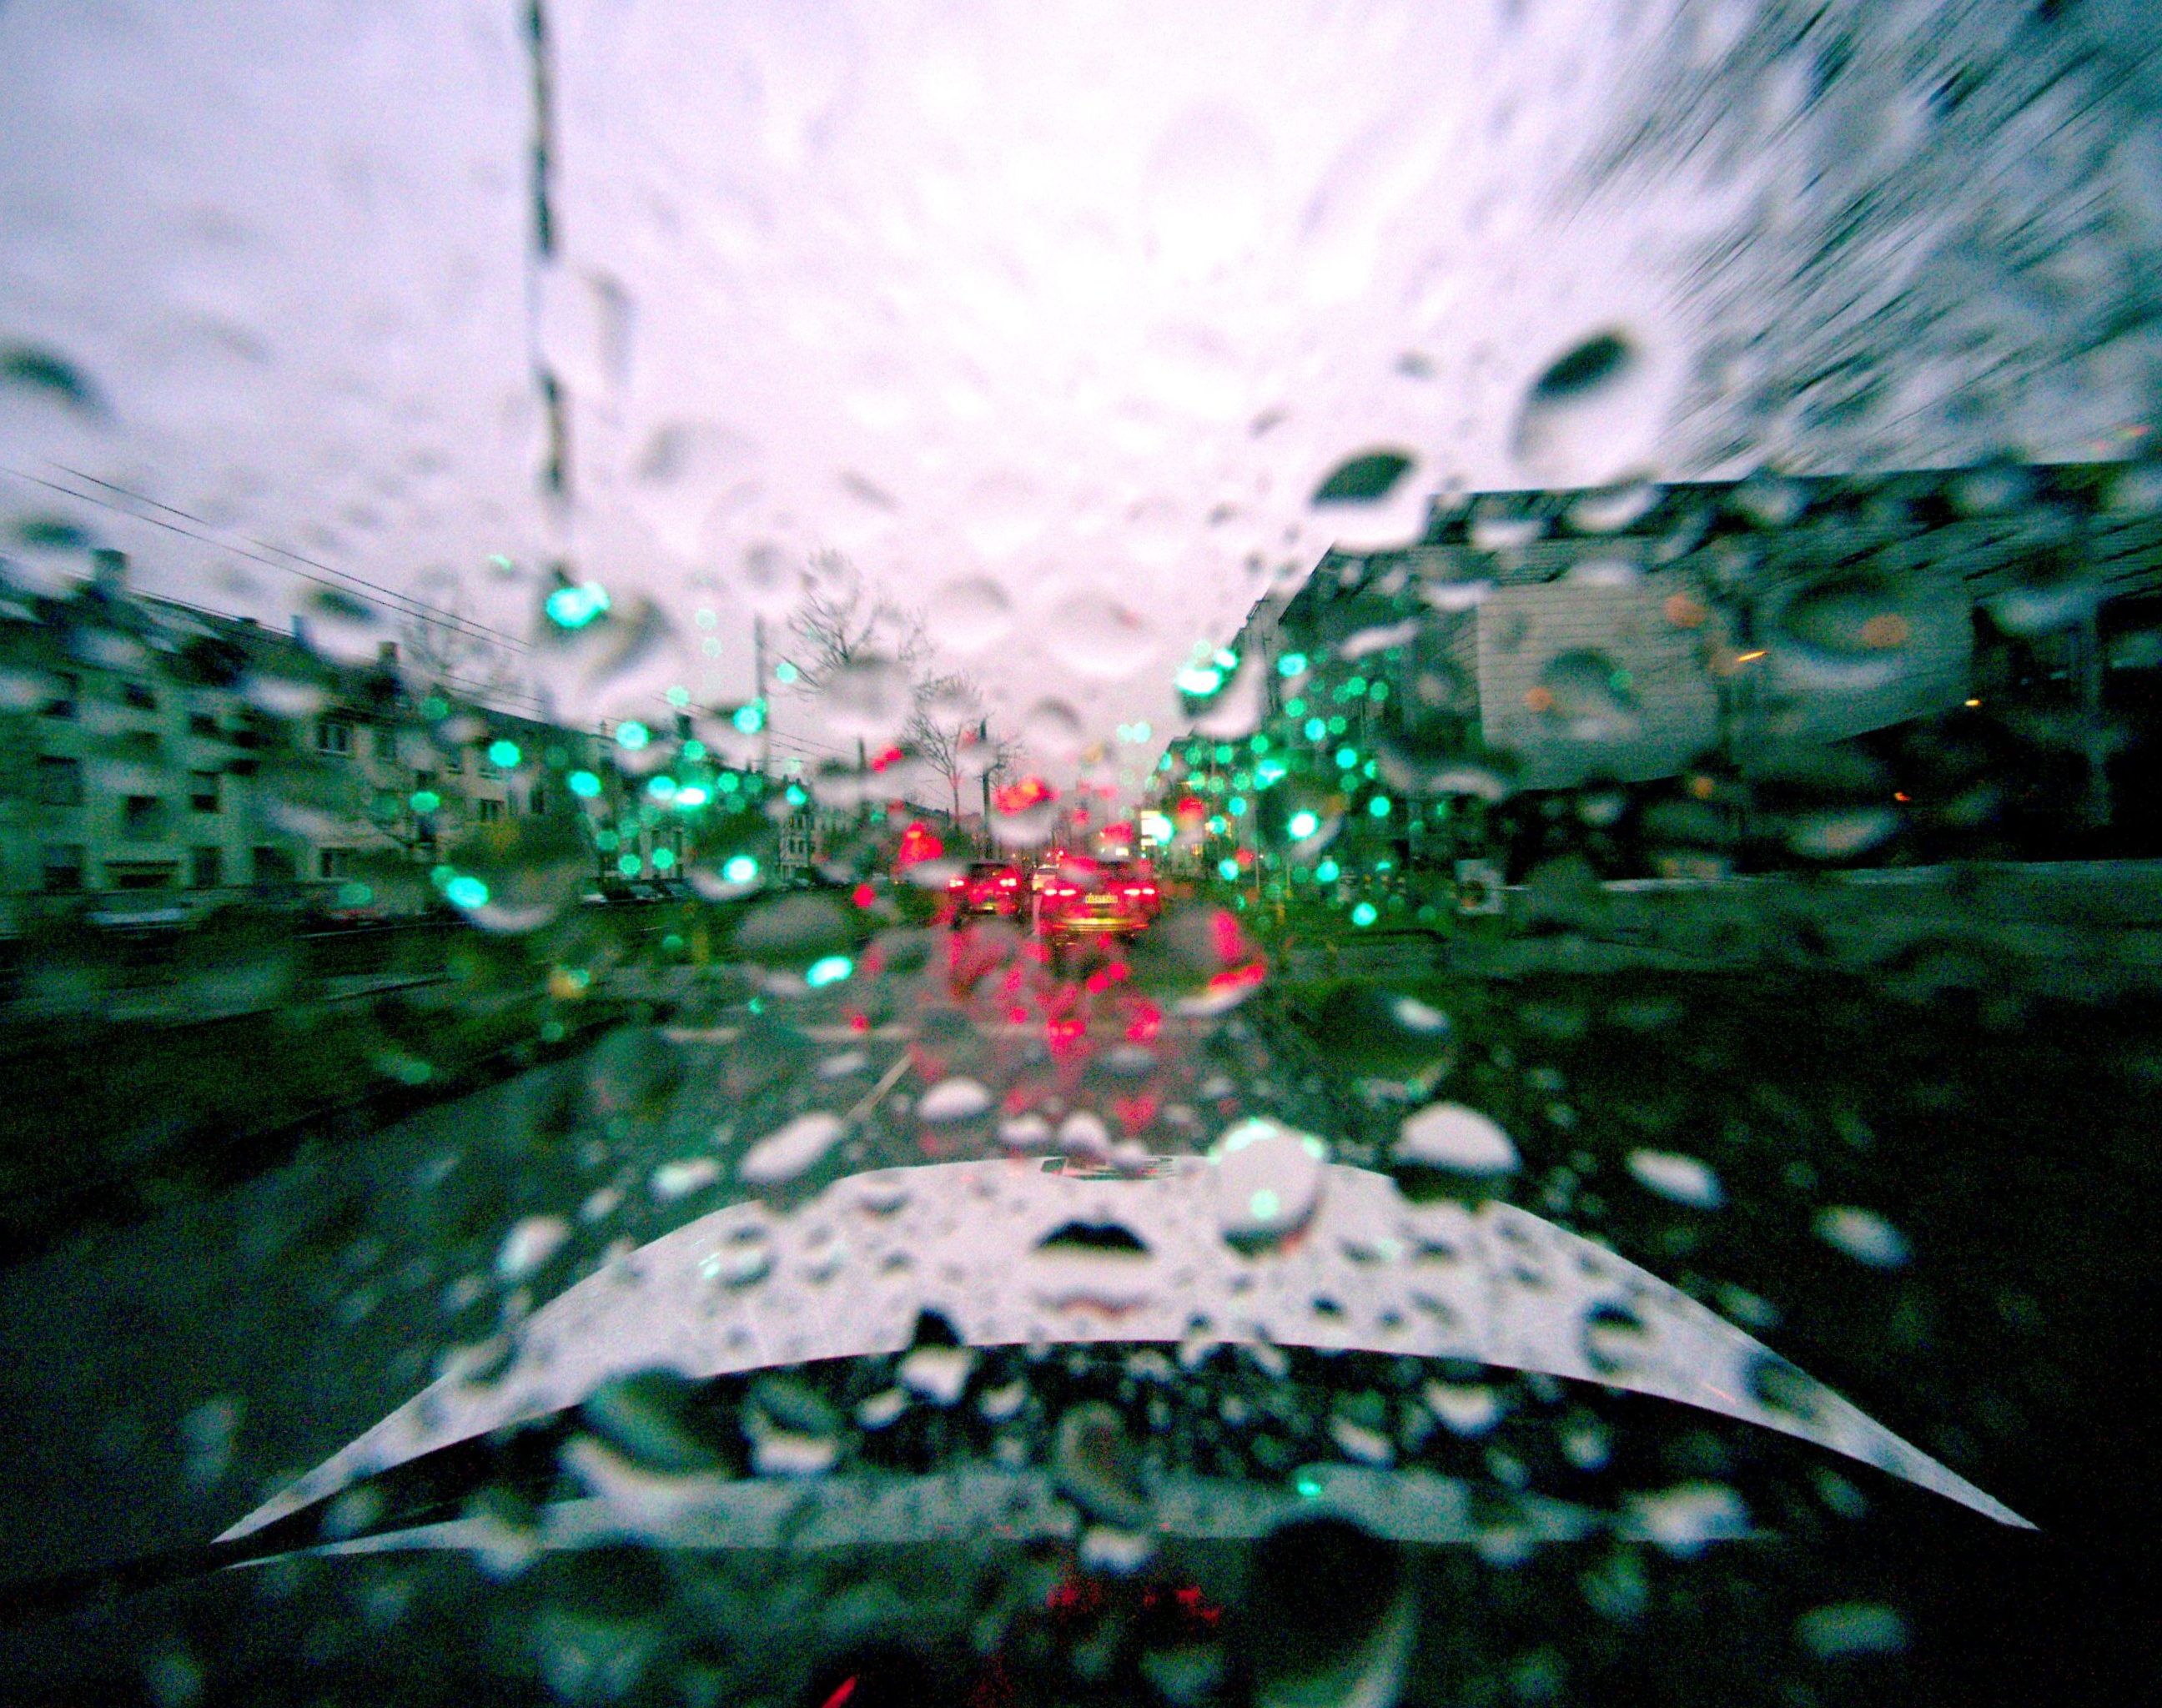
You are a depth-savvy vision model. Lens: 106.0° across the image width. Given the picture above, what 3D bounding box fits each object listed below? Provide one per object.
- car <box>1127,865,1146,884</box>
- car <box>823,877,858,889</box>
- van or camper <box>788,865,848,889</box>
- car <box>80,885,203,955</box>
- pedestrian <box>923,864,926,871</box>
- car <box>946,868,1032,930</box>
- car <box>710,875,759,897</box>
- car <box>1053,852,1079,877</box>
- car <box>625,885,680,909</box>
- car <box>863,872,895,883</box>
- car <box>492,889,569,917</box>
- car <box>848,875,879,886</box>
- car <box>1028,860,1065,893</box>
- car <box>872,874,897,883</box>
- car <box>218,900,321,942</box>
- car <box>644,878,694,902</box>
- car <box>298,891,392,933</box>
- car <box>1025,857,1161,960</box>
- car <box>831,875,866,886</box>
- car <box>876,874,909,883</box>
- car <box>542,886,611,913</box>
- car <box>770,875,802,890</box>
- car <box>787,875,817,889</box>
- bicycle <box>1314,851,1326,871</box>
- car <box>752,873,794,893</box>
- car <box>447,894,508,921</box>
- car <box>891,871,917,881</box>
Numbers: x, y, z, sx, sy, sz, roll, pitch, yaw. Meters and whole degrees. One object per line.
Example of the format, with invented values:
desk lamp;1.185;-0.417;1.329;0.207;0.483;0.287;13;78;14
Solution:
car;5.267;1.896;77.251;1.631;1.728;4.006;-1;-1;6
car;-25.952;3.073;87.726;3.494;1.212;1.759;-1;-1;33
van or camper;-26.469;2.280;81.886;6.792;2.360;2.013;-1;-1;35
car;-27.099;1.802;23.445;4.598;1.723;1.845;-1;-1;35
pedestrian;-26.086;2.267;135.837;0.348;1.184;0.429;0;-2;-40
car;-2.325;1.108;21.517;1.812;1.450;3.998;0;-1;-1
car;-26.347;2.415;61.881;4.109;1.541;1.680;-1;-1;37
car;-1.039;0.793;58.934;1.655;1.759;3.570;-1;-1;3
car;-25.995;2.570;49.370;2.899;1.336;1.748;-1;-1;34
car;-25.089;2.918;101.118;4.071;1.378;1.784;-1;-1;38
car;-26.379;2.304;38.988;3.772;1.172;1.748;-1;-1;34
car;-25.168;3.042;94.166;3.374;1.147;1.702;-1;-1;33
car;-1.769;1.143;42.658;1.683;1.635;3.474;-1;-1;1
car;-25.093;3.116;103.983;3.005;1.147;1.406;-1;-1;32
car;-26.911;2.179;26.987;3.526;1.141;1.748;-1;-1;34
car;-26.469;2.267;52.248;3.342;1.422;1.680;-1;-1;40
car;-26.820;2.062;29.655;3.534;1.309;1.697;-1;-1;34
car;0.216;0.830;13.784;1.986;1.483;3.700;-1;-1;1
car;-25.827;2.936;90.527;3.494;1.200;1.894;-1;-1;33
car;-24.835;3.230;107.277;4.135;1.116;1.692;-1;-1;32
car;-26.191;2.318;42.253;3.794;1.245;1.748;-1;-1;37
car;-26.514;2.556;73.141;3.058;1.302;1.397;-1;-1;43
car;-25.764;2.592;75.248;2.851;1.204;1.397;-1;-1;43
bicycle;15.582;0.458;53.076;0.406;1.284;1.755;-1;-1;28
car;-25.928;2.395;68.499;3.800;1.589;1.753;-1;-1;43
car;-26.602;2.347;35.902;2.361;1.048;1.446;-1;0;34
car;-24.895;3.127;114.606;3.719;1.337;1.462;-2;-1;37
